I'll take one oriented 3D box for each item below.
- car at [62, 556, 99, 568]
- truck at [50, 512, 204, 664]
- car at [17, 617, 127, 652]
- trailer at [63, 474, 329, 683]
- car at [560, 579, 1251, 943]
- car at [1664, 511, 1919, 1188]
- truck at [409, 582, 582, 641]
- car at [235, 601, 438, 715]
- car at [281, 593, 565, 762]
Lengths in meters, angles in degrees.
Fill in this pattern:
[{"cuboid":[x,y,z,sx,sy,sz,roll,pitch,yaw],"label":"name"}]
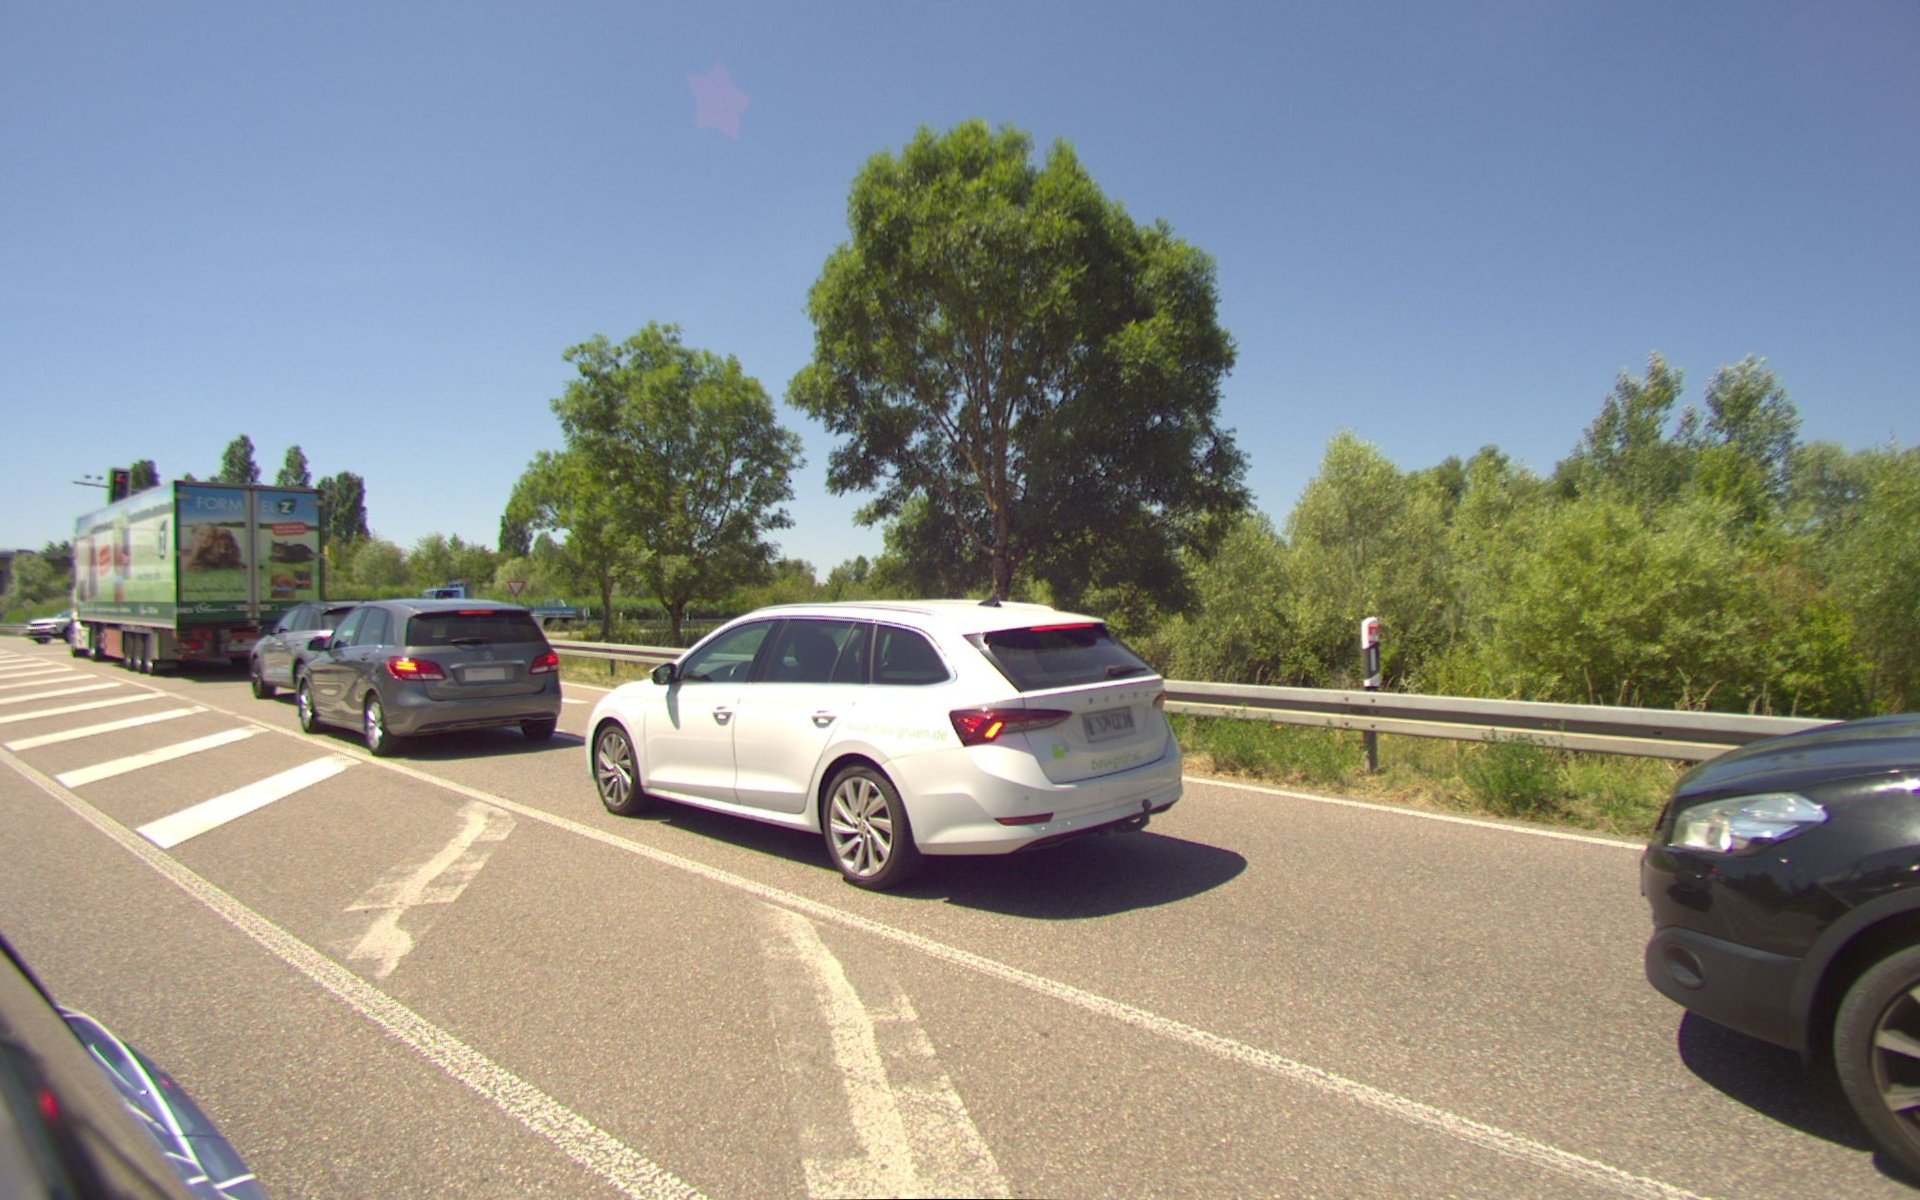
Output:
[{"cuboid":[-119.373,-5.147,137.368,1.502,1.378,3.576,-3,-3,42],"label":"car"},{"cuboid":[-24.735,-0.311,29.967,5.824,4.075,2.661,-1,0,42],"label":"truck"},{"cuboid":[-38.499,1.455,43.998,1.694,1.446,3.966,0,-1,-8],"label":"car"},{"cuboid":[-19.684,-0.368,25.427,14.121,4.075,2.661,-1,0,42],"label":"trailer"},{"cuboid":[-0.699,0.686,6.361,4.632,1.490,1.634,-1,0,44],"label":"car"},{"cuboid":[4.127,0.555,1.766,4.536,1.601,1.697,-1,-1,44],"label":"car"},{"cuboid":[-27.475,0.724,60.281,2.695,3.220,9.047,-1,-2,43],"label":"truck"},{"cuboid":[-9.957,0.834,16.041,4.154,1.573,1.693,-1,-1,43],"label":"car"},{"cuboid":[-6.171,0.754,11.377,4.386,1.549,1.605,-1,-2,45],"label":"car"}]
